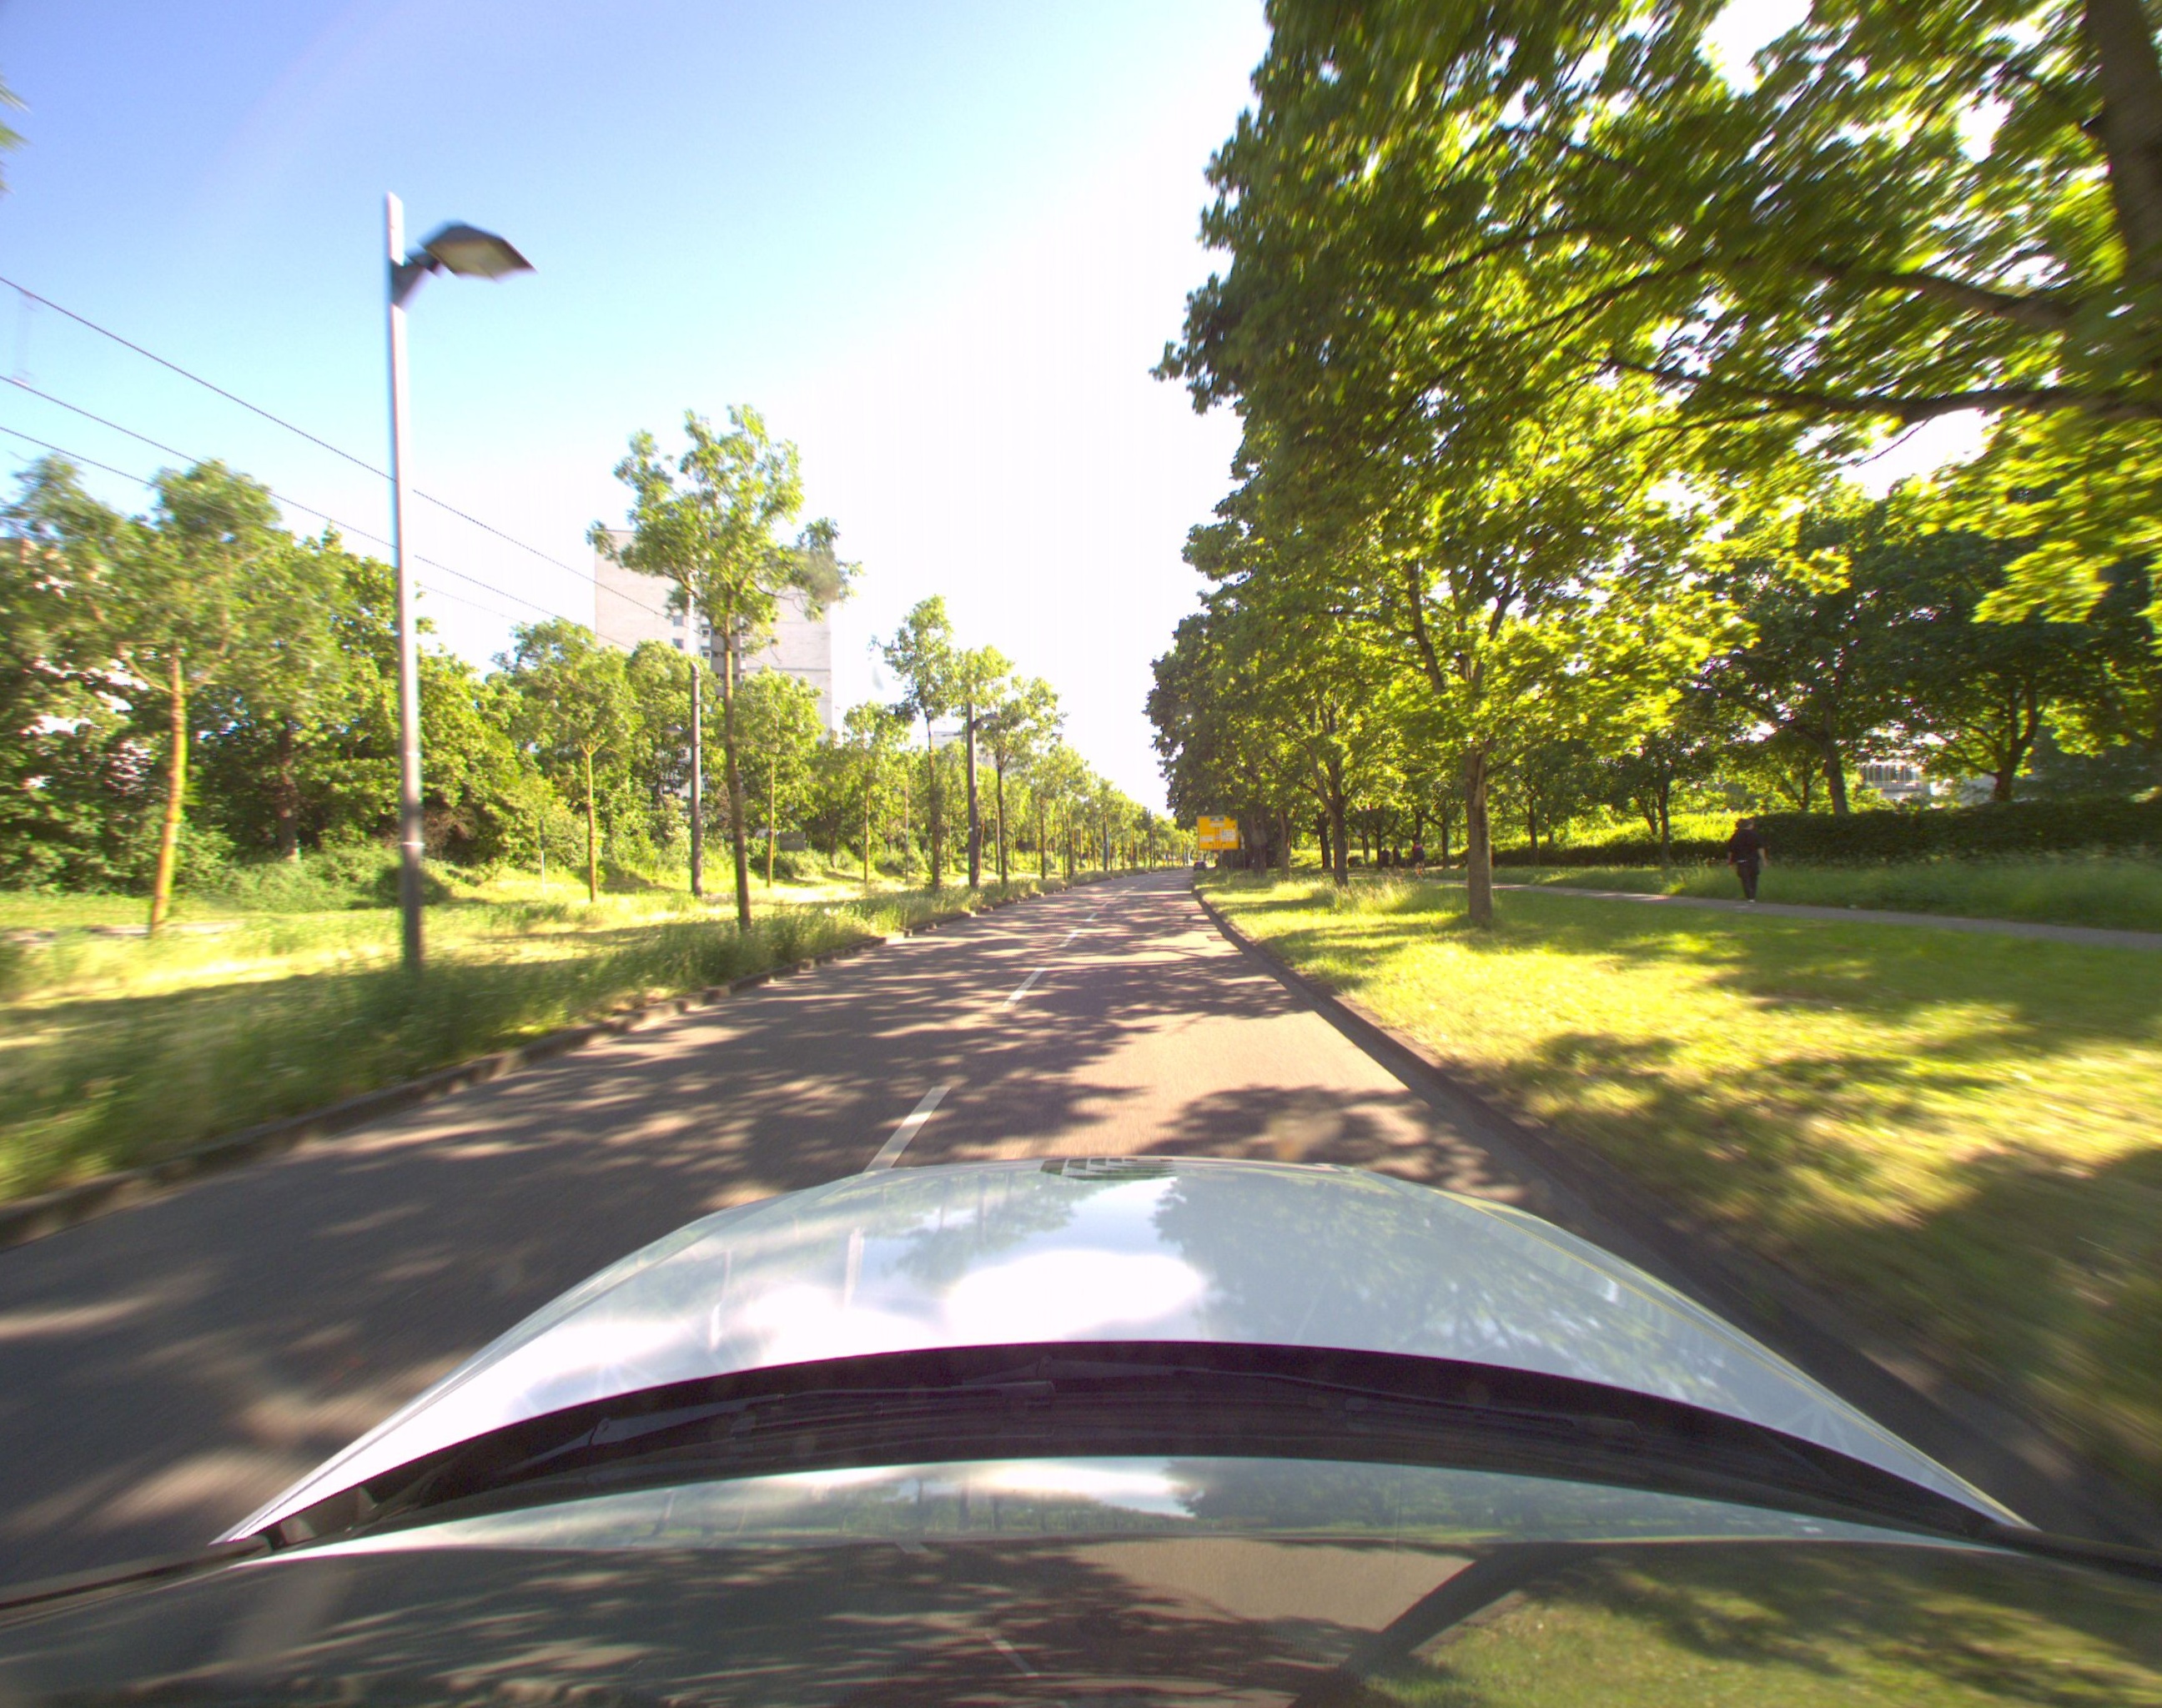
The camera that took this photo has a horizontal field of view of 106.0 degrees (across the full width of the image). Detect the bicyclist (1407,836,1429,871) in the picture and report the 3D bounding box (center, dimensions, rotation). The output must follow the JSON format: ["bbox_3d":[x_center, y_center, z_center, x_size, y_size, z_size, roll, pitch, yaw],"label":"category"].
[{"bbox_3d":[14.336,-0.007,34.644,0.782,1.450,0.850,-2,-1,23],"label":"bicyclist"}]

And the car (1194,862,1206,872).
[{"bbox_3d":[17.704,1.891,120.765,1.624,1.498,4.247,-1,0,11],"label":"car"}]

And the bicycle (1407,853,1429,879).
[{"bbox_3d":[14.349,0.479,34.625,0.787,1.047,2.154,-2,-1,23],"label":"bicycle"}]

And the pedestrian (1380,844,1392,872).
[{"bbox_3d":[17.804,0.242,47.593,0.542,1.622,0.848,-2,-1,17],"label":"pedestrian"}]

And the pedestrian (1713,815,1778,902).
[{"bbox_3d":[14.153,0.102,17.369,0.712,1.803,0.795,-1,-1,4],"label":"pedestrian"}]

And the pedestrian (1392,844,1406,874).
[{"bbox_3d":[18.408,0.294,47.207,0.631,1.692,0.848,-2,-1,17],"label":"pedestrian"}]
